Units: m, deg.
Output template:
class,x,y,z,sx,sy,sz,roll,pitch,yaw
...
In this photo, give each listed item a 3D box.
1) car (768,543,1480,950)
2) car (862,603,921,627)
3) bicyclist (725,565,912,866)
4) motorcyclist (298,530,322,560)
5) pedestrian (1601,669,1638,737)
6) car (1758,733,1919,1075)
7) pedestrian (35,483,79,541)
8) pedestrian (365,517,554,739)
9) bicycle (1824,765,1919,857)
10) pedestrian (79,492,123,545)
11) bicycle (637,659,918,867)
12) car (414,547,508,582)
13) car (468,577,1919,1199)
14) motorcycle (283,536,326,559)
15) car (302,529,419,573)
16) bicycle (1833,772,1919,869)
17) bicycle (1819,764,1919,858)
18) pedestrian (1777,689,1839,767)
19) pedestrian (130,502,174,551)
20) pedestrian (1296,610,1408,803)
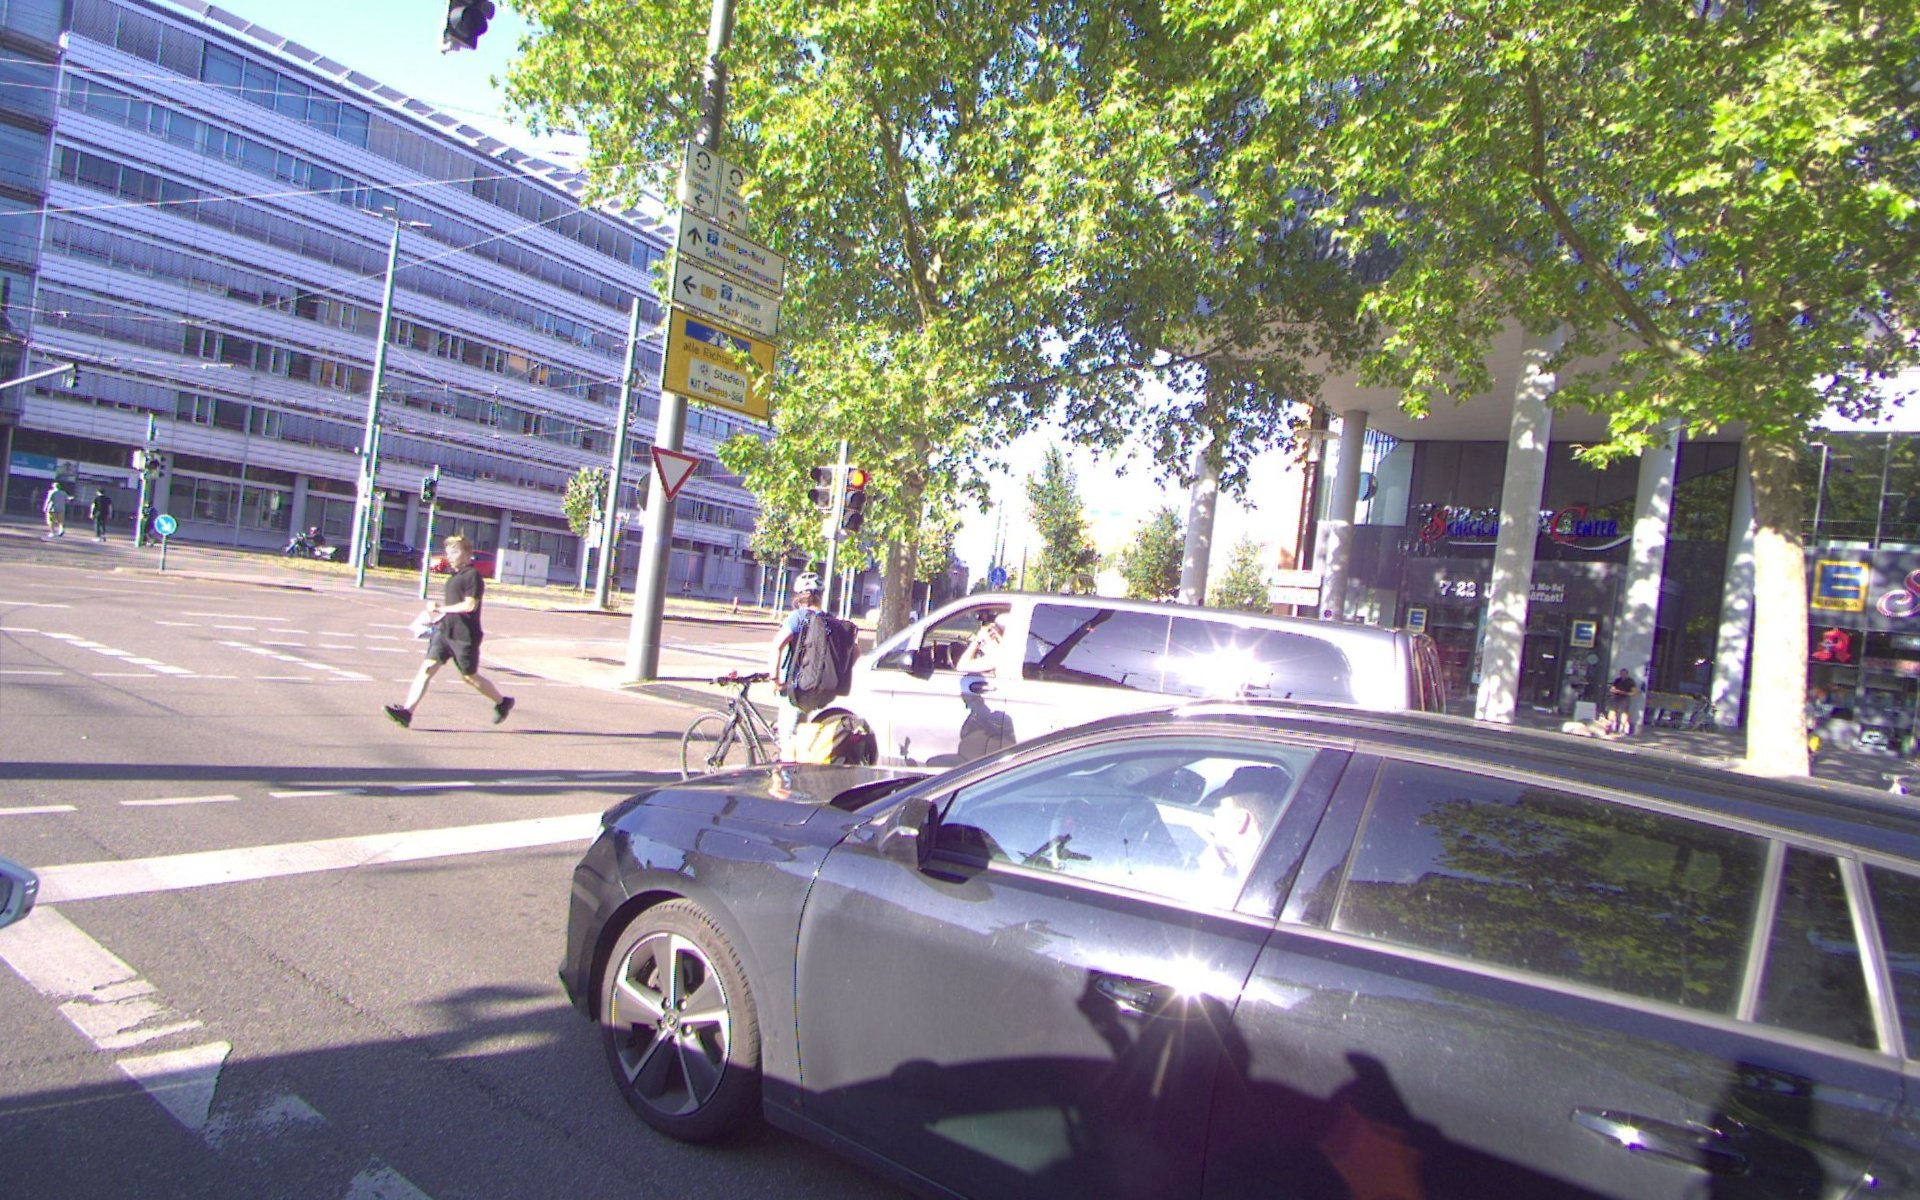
class,x,y,z,sx,sy,sz,roll,pitch,yaw
car,1.118,0.844,7.940,5.012,2.004,1.939,7,0,31
car,-5.132,1.133,75.658,1.758,1.353,4.605,7,0,37
bicyclist,-0.892,0.696,6.372,0.766,1.714,0.632,7,1,32
motorcyclist,-30.028,-2.542,46.460,0.452,1.291,0.712,7,1,36
pedestrian,17.543,2.737,26.748,0.598,1.707,0.511,6,1,-41
car,6.537,1.744,4.608,4.181,1.503,1.741,7,0,31
pedestrian,-30.760,-2.995,34.283,0.858,1.811,0.863,7,1,38
pedestrian,-4.379,0.260,8.861,0.730,1.769,1.091,7,0,28
bicycle,11.498,2.607,12.354,0.460,0.938,1.210,6,0,-39
pedestrian,-30.328,-2.873,35.514,1.020,1.706,0.912,7,1,39
bicycle,-1.239,1.006,6.639,1.839,0.993,0.561,7,1,32
car,-25.963,-1.828,52.419,1.758,1.411,3.984,7,1,37
car,0.793,0.932,2.736,4.199,1.431,1.742,7,-2,32
motorcycle,-30.156,-2.406,46.302,0.460,0.820,1.568,7,0,36
car,-27.218,-2.208,45.775,1.758,1.415,4.157,7,0,37
bicycle,10.541,2.479,11.095,1.233,0.898,0.462,7,1,32
bicycle,11.200,2.545,12.082,0.437,0.930,1.210,6,0,-39
pedestrian,20.549,3.078,24.384,0.704,1.728,0.806,7,1,15
pedestrian,-28.890,-2.625,35.962,0.883,1.583,0.947,7,1,39
pedestrian,4.120,1.096,10.560,0.800,1.868,0.642,7,1,30
